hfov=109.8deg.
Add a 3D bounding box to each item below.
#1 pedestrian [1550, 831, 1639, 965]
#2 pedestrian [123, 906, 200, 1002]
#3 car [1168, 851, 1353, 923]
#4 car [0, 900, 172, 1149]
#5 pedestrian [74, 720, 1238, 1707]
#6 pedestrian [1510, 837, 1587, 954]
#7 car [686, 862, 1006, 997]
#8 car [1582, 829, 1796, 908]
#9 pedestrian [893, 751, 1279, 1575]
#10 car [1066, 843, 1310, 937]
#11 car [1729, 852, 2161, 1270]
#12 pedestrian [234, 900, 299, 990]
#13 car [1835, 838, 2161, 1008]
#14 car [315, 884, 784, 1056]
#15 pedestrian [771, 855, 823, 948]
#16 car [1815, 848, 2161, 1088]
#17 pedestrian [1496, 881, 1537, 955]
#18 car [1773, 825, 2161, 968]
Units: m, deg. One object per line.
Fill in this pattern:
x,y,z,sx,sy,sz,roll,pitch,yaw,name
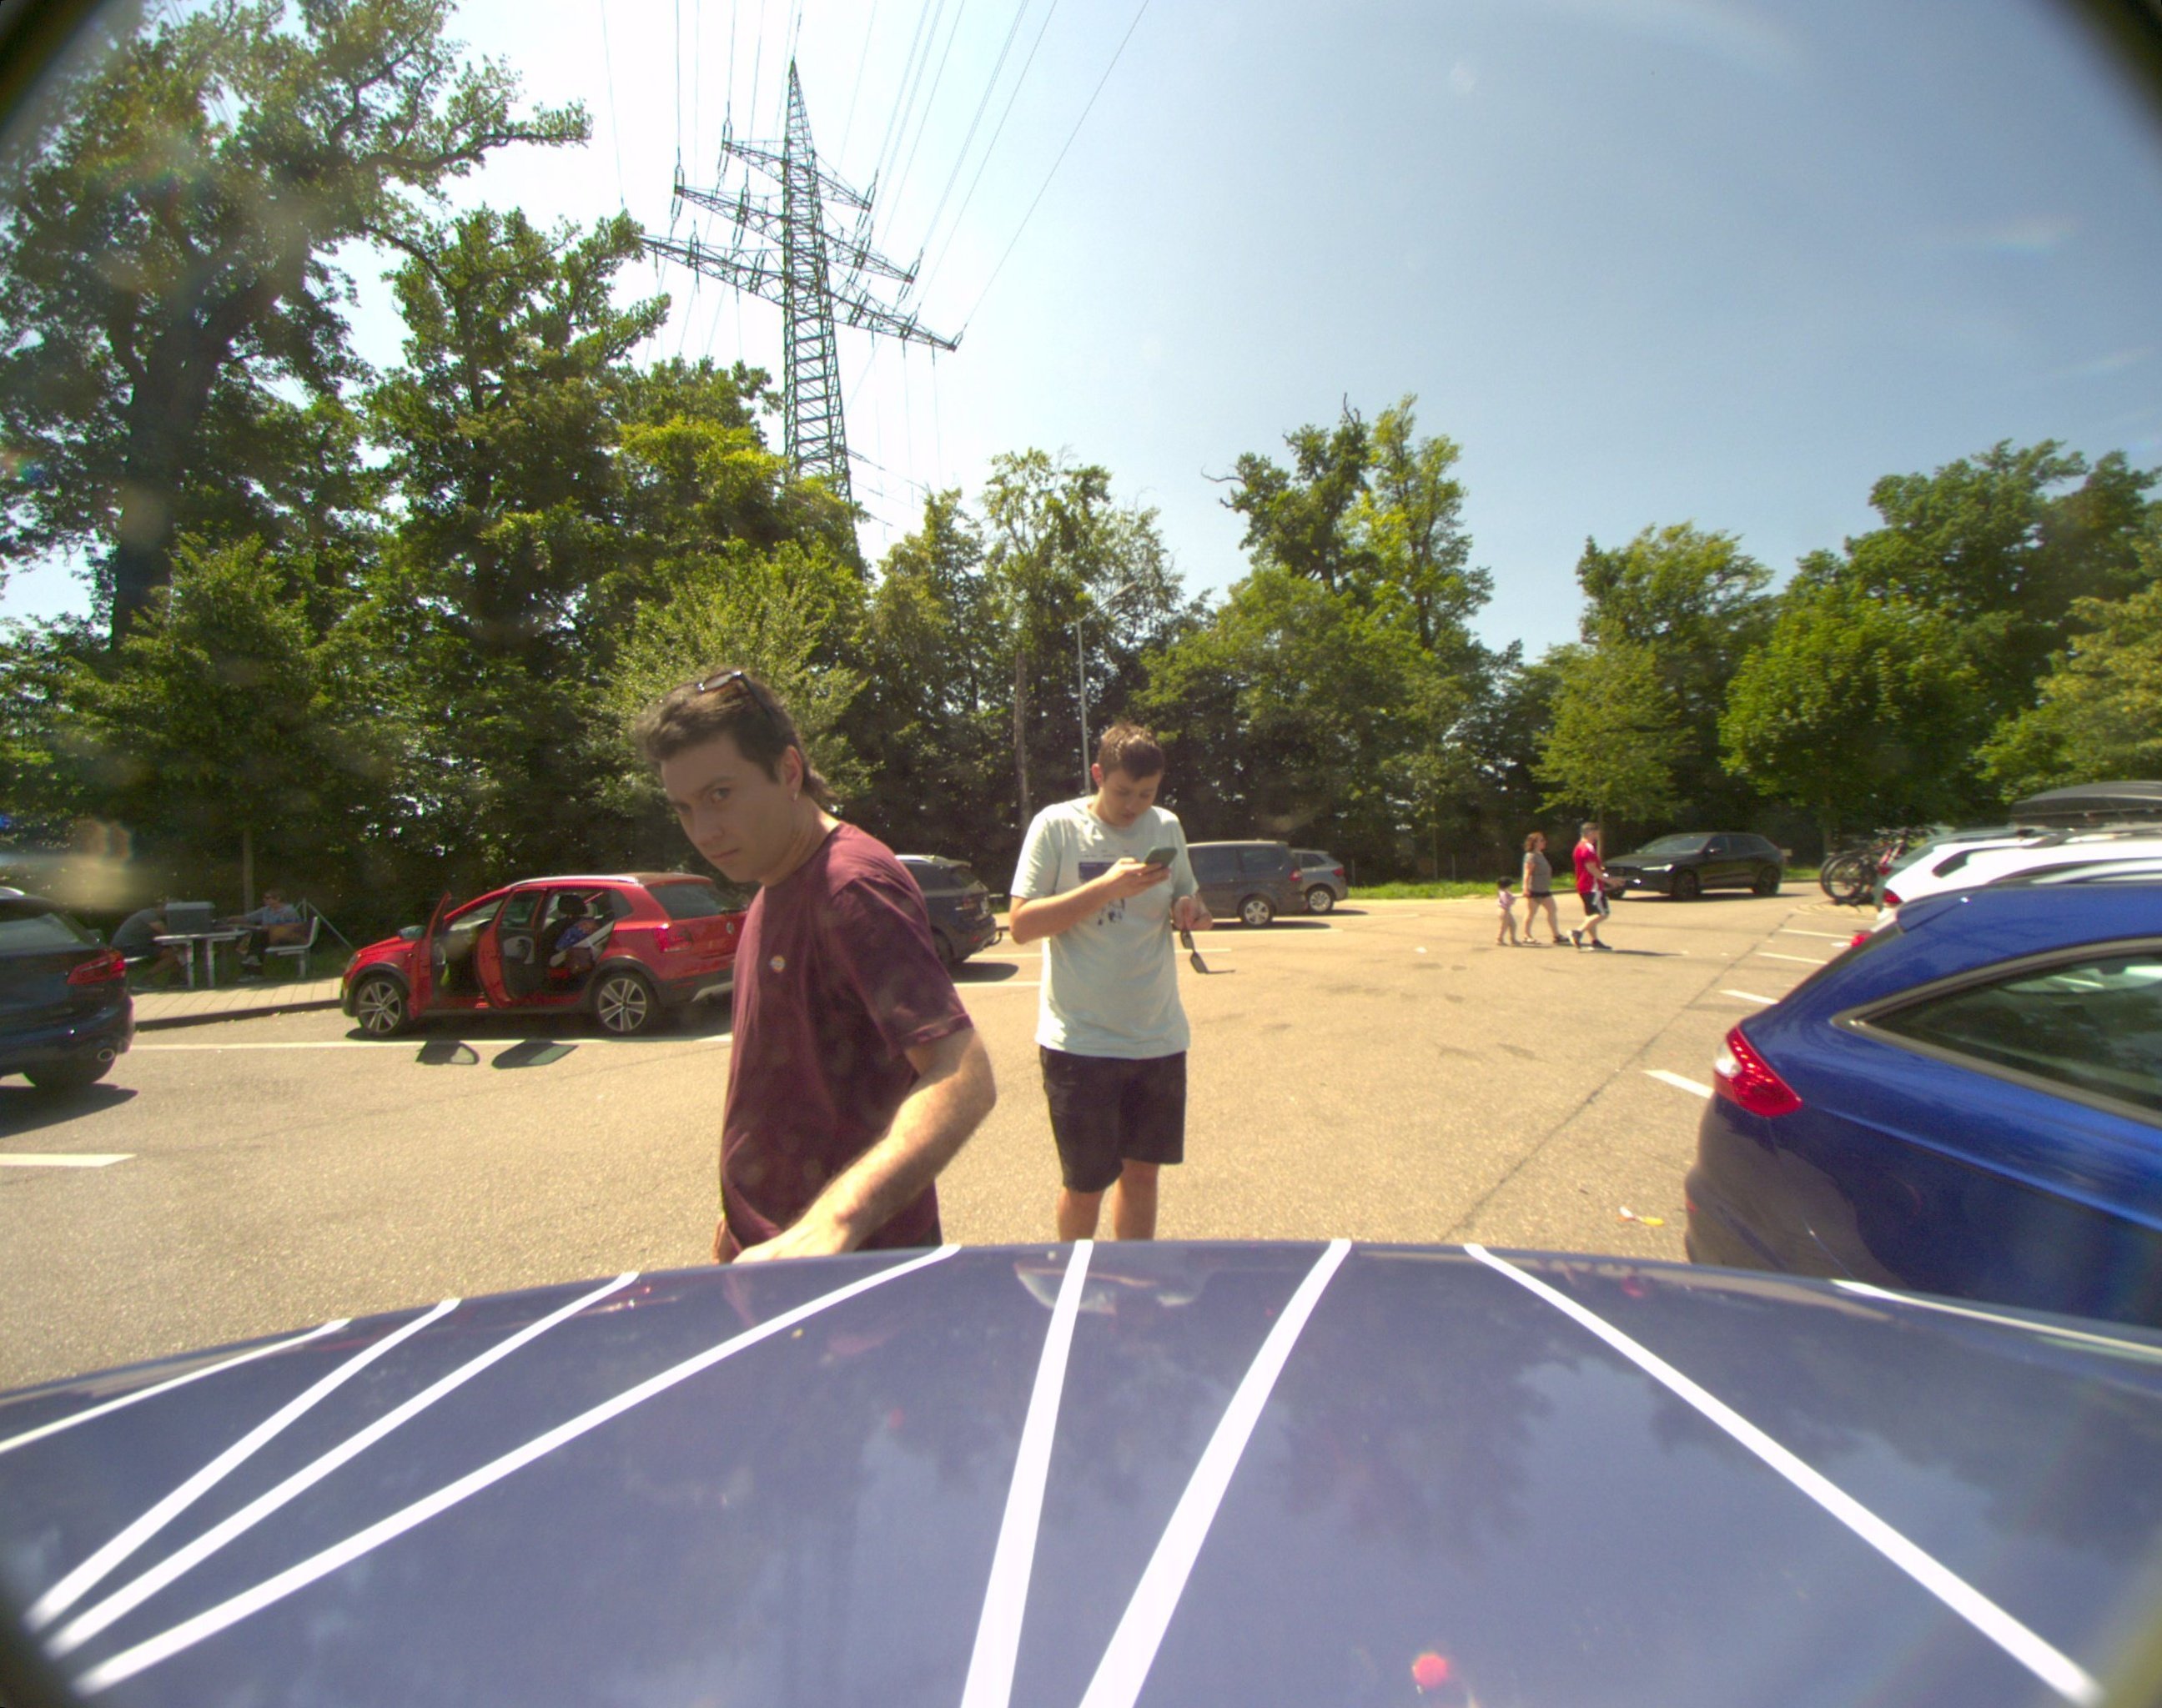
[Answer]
6.906,0.575,10.261,0.832,1.722,0.677,-2,1,21,pedestrian
-12.625,1.348,10.456,0.695,1.228,0.588,-3,0,43,pedestrian
4.151,0.748,18.025,3.996,1.495,1.687,-2,1,3,car
-8.879,1.171,5.009,3.934,1.534,1.812,-2,0,7,car
-0.392,0.807,1.084,0.865,1.823,0.859,-3,1,-22,pedestrian
6.892,0.599,11.248,0.832,1.653,0.677,-2,0,21,pedestrian
-3.026,0.955,10.330,3.732,1.578,1.739,-2,0,2,car
15.364,0.311,19.230,4.620,1.703,1.997,-2,1,-18,car
-0.002,0.732,2.174,0.861,1.940,0.688,-2,1,-5,pedestrian
2.147,0.717,15.486,4.619,1.701,1.740,-2,0,9,car
4.878,0.748,2.369,1.776,1.491,4.495,-3,-1,-1,car
-11.944,1.314,11.144,0.695,1.228,0.588,-3,0,43,pedestrian
10.115,0.576,6.913,1.777,1.418,4.493,-3,-1,-5,car
-5.183,1.098,7.653,3.730,1.440,1.591,-2,0,7,car
-5.809,0.954,15.576,0.519,1.821,0.767,-2,1,26,pedestrian
7.482,0.680,4.527,1.776,1.418,4.495,-3,-1,-1,car
6.348,0.928,11.094,0.433,1.038,0.440,-2,0,21,pedestrian
12.547,0.482,10.384,1.777,1.541,4.493,-3,-1,-5,car
